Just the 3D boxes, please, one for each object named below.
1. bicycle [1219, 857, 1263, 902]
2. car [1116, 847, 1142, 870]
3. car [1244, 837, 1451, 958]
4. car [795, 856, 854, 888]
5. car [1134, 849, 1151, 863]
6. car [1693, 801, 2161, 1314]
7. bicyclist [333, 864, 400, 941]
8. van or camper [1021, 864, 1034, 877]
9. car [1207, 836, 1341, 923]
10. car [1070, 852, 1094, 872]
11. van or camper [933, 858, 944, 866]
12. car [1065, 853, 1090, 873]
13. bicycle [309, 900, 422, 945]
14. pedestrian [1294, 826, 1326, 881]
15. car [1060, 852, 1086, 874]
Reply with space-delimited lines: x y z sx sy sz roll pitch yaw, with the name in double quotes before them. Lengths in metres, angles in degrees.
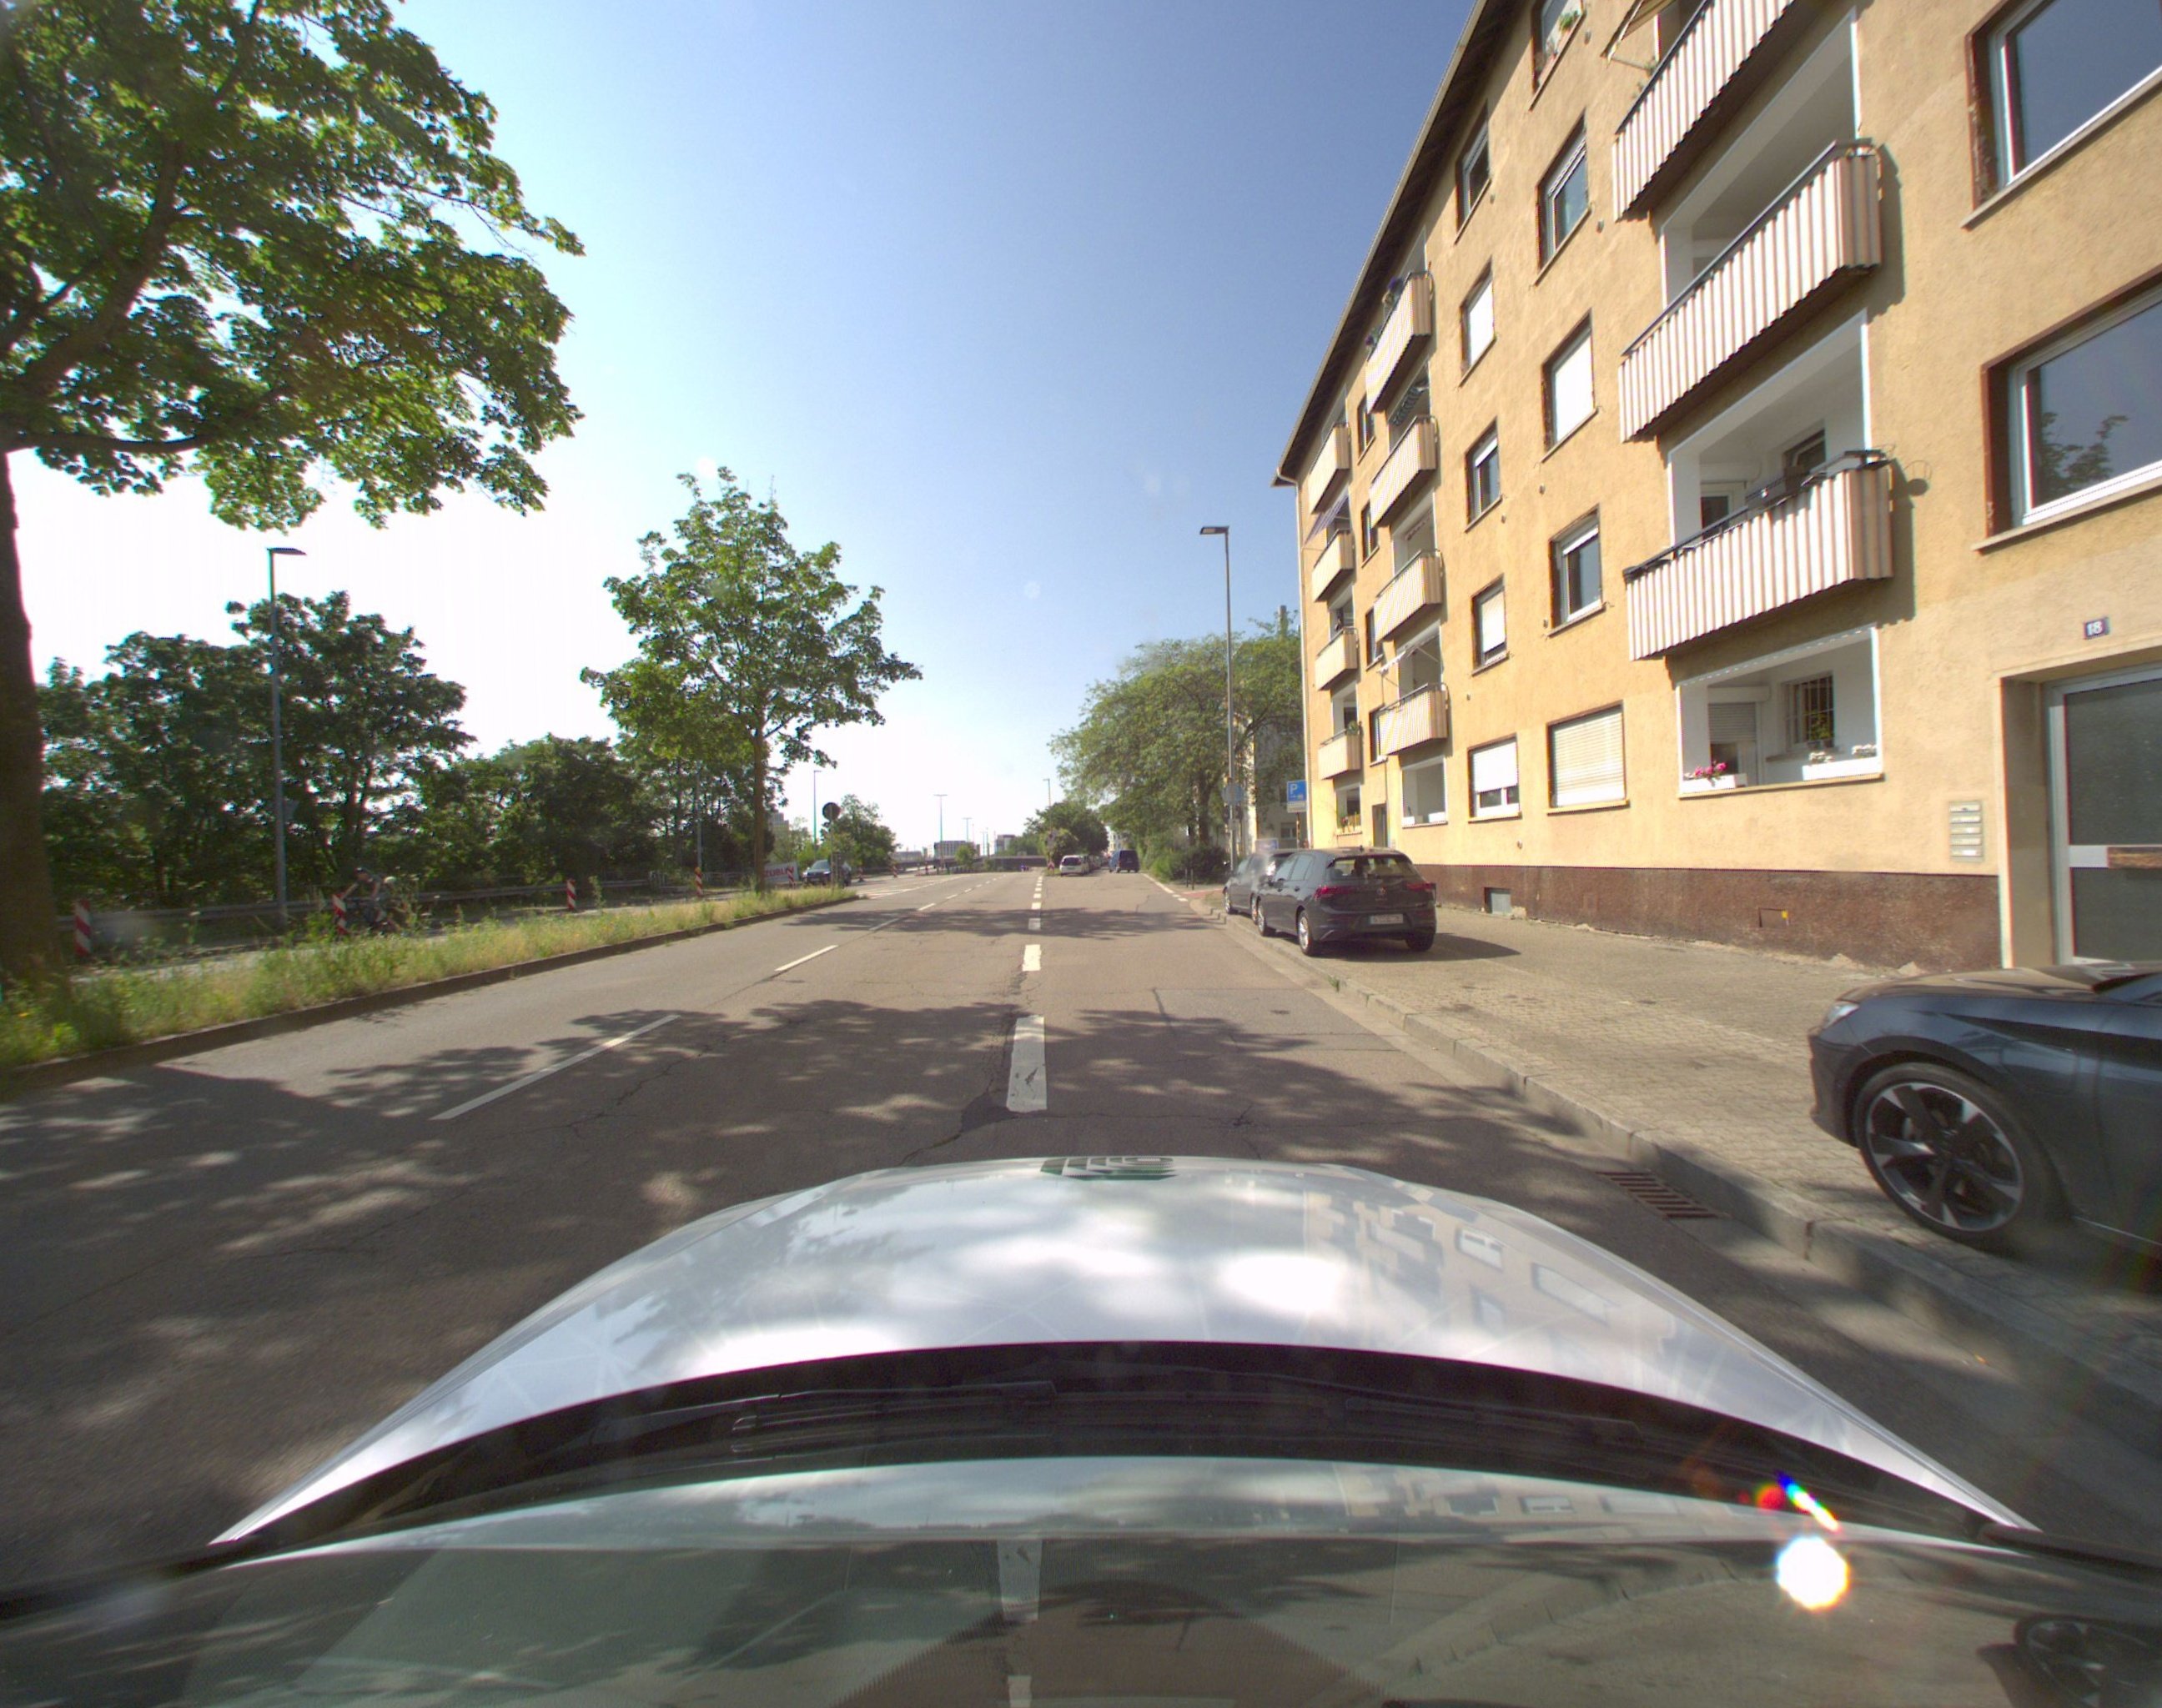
"bicycle" 4.329 0.674 22.139 0.701 1.123 1.743 -2 0 -4
"car" 4.052 0.348 69.655 1.878 1.921 4.005 0 0 -2
"car" 3.840 0.540 12.550 1.705 1.462 4.254 -3 0 -1
"car" -15.091 1.018 48.248 1.988 1.734 4.727 -2 0 -1
"car" 6.927 0.214 91.719 1.720 1.420 4.002 -4 0 2
"car" 3.948 0.543 1.675 1.795 1.438 4.587 -3 0 -2
"bicyclist" -17.725 1.177 20.221 0.694 1.831 1.017 -2 0 0
"van or camper" -12.232 3.644 186.000 2.288 2.789 5.573 -2 0 2
"car" 3.968 0.458 17.443 1.699 1.514 4.089 -4 1 -2
"car" 0.079 0.648 69.255 1.768 1.579 4.181 -2 0 -3
"van or camper" -25.964 1.370 148.190 1.464 1.350 4.625 -2 0 -3
"car" -0.222 0.670 63.736 1.714 1.505 4.135 -1 0 3
"bicycle" -17.702 1.670 20.230 0.691 0.905 2.342 -2 0 0
"pedestrian" 7.005 -0.032 24.935 0.652 1.609 0.824 -4 0 3
"car" -0.523 0.636 59.073 1.613 1.505 3.464 -2 0 3
